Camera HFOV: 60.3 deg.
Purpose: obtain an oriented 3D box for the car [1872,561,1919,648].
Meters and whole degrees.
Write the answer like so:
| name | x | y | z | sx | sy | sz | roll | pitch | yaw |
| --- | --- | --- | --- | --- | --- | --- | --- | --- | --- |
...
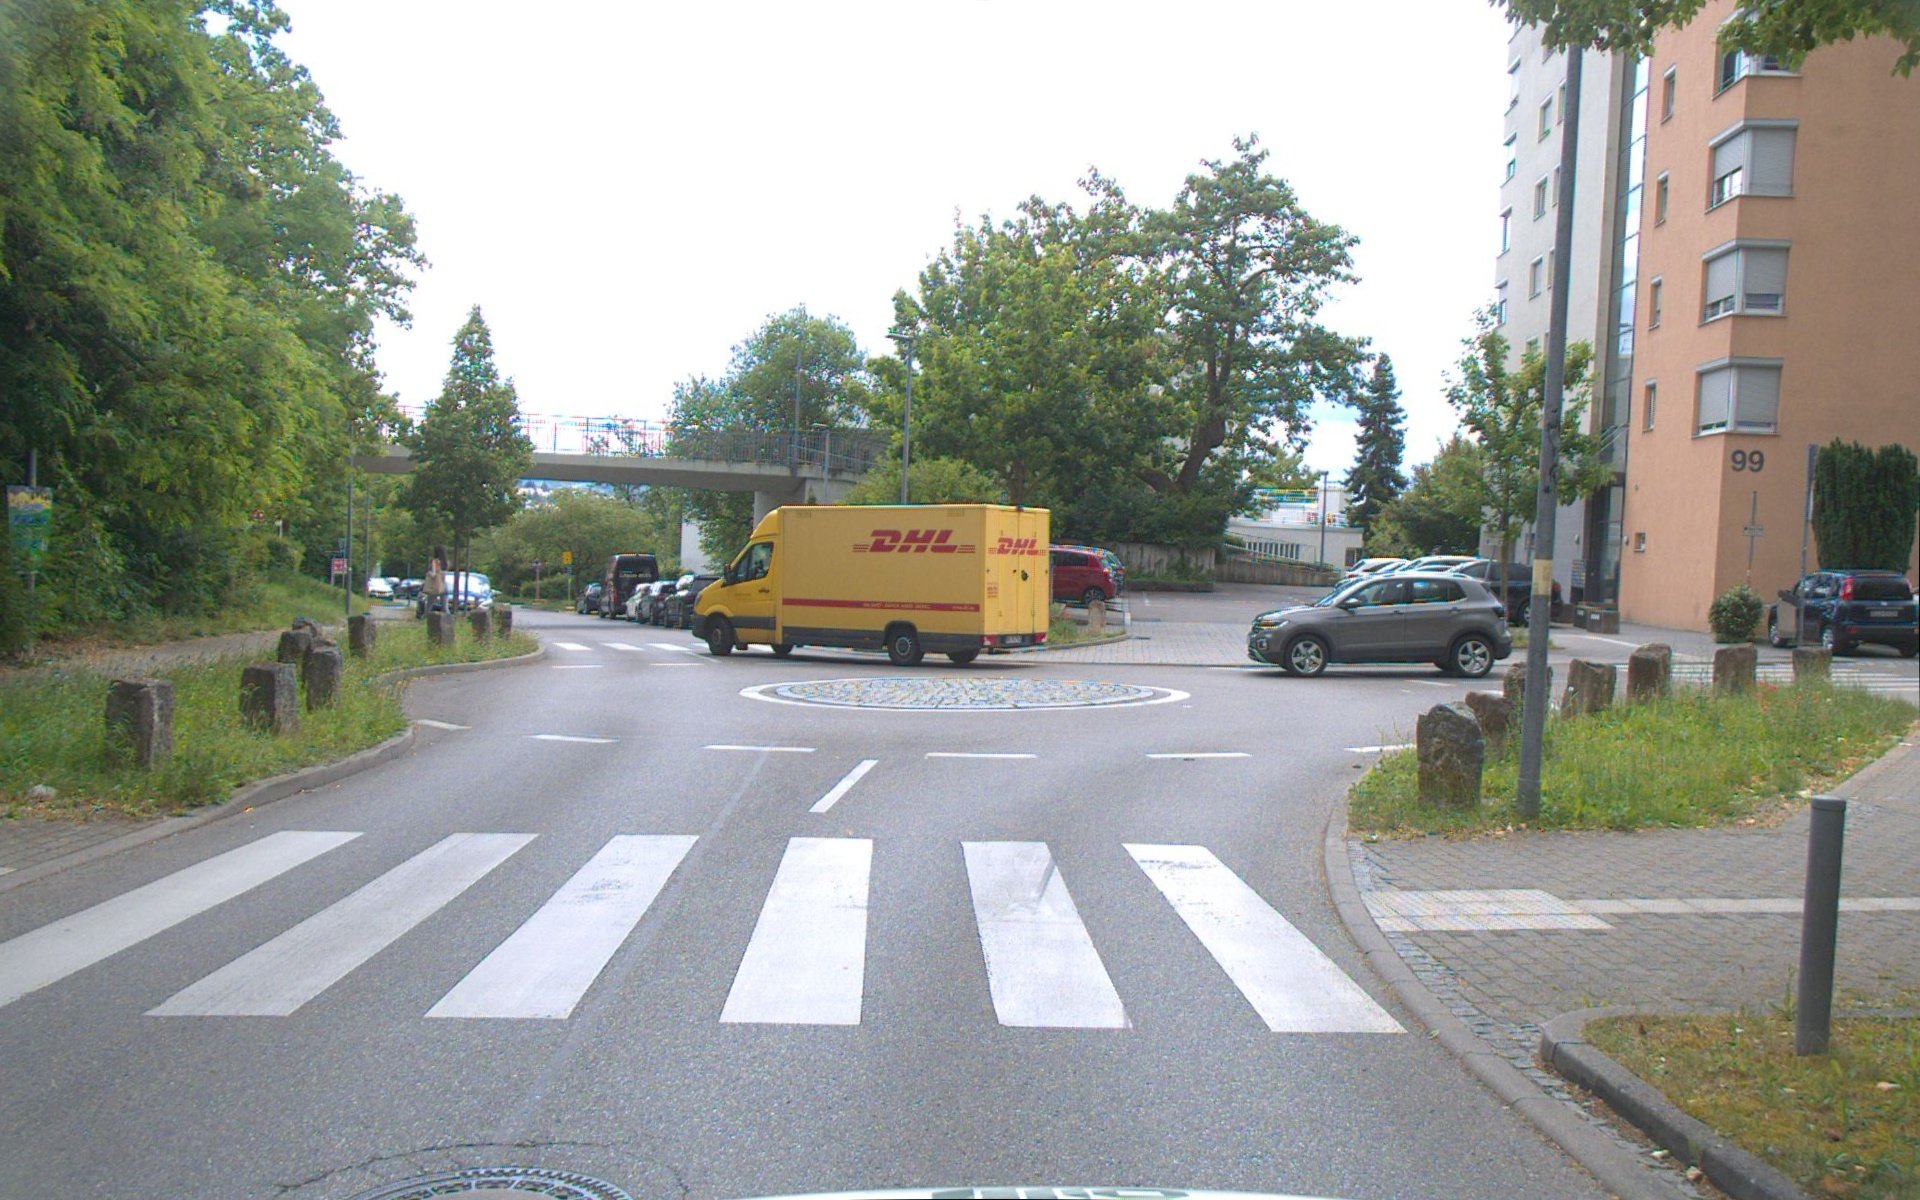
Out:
| name | x | y | z | sx | sy | sz | roll | pitch | yaw |
| --- | --- | --- | --- | --- | --- | --- | --- | --- | --- |
| car | 19.361 | 0.074 | 32.055 | 1.535 | 1.687 | 3.780 | 0 | 1 | 5 |

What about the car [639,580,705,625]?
| name | x | y | z | sx | sy | sz | roll | pitch | yaw |
| --- | --- | --- | --- | --- | --- | --- | --- | --- | --- |
| car | -10.150 | 0.081 | 58.153 | 1.674 | 1.523 | 4.096 | 0 | 0 | -19 |

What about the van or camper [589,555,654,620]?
| name | x | y | z | sx | sy | sz | roll | pitch | yaw |
| --- | --- | --- | --- | --- | --- | --- | --- | --- | --- |
| van or camper | -14.065 | -0.491 | 68.506 | 1.963 | 2.567 | 5.441 | -1 | 0 | -19 |

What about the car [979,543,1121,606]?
| name | x | y | z | sx | sy | sz | roll | pitch | yaw |
| --- | --- | --- | --- | --- | --- | --- | --- | --- | --- |
| car | 2.352 | -0.662 | 43.087 | 3.573 | 1.464 | 1.685 | 2 | 1 | 3 |

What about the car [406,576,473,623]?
| name | x | y | z | sx | sy | sz | roll | pitch | yaw |
| --- | --- | --- | --- | --- | --- | --- | --- | --- | --- |
| car | -18.245 | -0.023 | 57.841 | 1.858 | 1.535 | 4.423 | 2 | 0 | -22 |

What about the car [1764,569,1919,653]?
| name | x | y | z | sx | sy | sz | roll | pitch | yaw |
| --- | --- | --- | --- | --- | --- | --- | --- | --- | --- |
| car | 16.780 | 0.168 | 31.515 | 1.468 | 1.502 | 3.528 | 0 | 1 | 5 |

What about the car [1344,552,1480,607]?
| name | x | y | z | sx | sy | sz | roll | pitch | yaw |
| --- | --- | --- | --- | --- | --- | --- | --- | --- | --- |
| car | 14.023 | -0.638 | 51.506 | 3.896 | 1.544 | 1.758 | 2 | 1 | 10 |

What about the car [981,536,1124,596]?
| name | x | y | z | sx | sy | sz | roll | pitch | yaw |
| --- | --- | --- | --- | --- | --- | --- | --- | --- | --- |
| car | 2.956 | -1.089 | 53.245 | 4.450 | 1.697 | 1.945 | 2 | 1 | 1 |

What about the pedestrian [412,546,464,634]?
| name | x | y | z | sx | sy | sz | roll | pitch | yaw |
| --- | --- | --- | --- | --- | --- | --- | --- | --- | --- |
| pedestrian | -10.672 | -0.207 | 33.812 | 0.721 | 1.751 | 0.660 | 2 | 1 | 11 |

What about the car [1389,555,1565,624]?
| name | x | y | z | sx | sy | sz | roll | pitch | yaw |
| --- | --- | --- | --- | --- | --- | --- | --- | --- | --- |
| car | 12.952 | -0.272 | 41.635 | 3.955 | 1.544 | 1.757 | 2 | 1 | 8 |

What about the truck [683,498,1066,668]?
| name | x | y | z | sx | sy | sz | roll | pitch | yaw |
| --- | --- | --- | --- | --- | --- | --- | --- | --- | --- |
| truck | -1.634 | -0.333 | 29.688 | 6.683 | 2.749 | 2.467 | 1 | 0 | 34 |

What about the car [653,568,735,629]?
| name | x | y | z | sx | sy | sz | roll | pitch | yaw |
| --- | --- | --- | --- | --- | --- | --- | --- | --- | --- |
| car | -8.403 | -0.007 | 51.954 | 1.787 | 1.708 | 4.344 | 1 | -3 | -20 |

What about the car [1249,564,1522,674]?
| name | x | y | z | sx | sy | sz | roll | pitch | yaw |
| --- | --- | --- | --- | --- | --- | --- | --- | --- | --- |
| car | 6.568 | 0.274 | 25.872 | 3.911 | 1.646 | 1.724 | 0 | 0 | 6 |

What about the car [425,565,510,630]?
| name | x | y | z | sx | sy | sz | roll | pitch | yaw |
| --- | --- | --- | --- | --- | --- | --- | --- | --- | --- |
| car | -12.667 | -0.093 | 42.430 | 1.760 | 1.493 | 3.976 | 2 | 1 | -21 |

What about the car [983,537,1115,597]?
| name | x | y | z | sx | sy | sz | roll | pitch | yaw |
| --- | --- | --- | --- | --- | --- | --- | --- | --- | --- |
| car | 2.684 | -1.011 | 50.516 | 3.905 | 1.641 | 1.945 | 2 | 1 | 1 |

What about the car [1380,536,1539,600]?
| name | x | y | z | sx | sy | sz | roll | pitch | yaw |
| --- | --- | --- | --- | --- | --- | --- | --- | --- | --- |
| car | 14.009 | -0.899 | 46.560 | 4.031 | 1.621 | 1.694 | 2 | 1 | 8 |

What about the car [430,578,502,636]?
| name | x | y | z | sx | sy | sz | roll | pitch | yaw |
| --- | --- | --- | --- | --- | --- | --- | --- | --- | --- |
| car | -14.149 | 0.166 | 47.292 | 1.855 | 1.485 | 3.529 | 2 | 1 | -18 |
